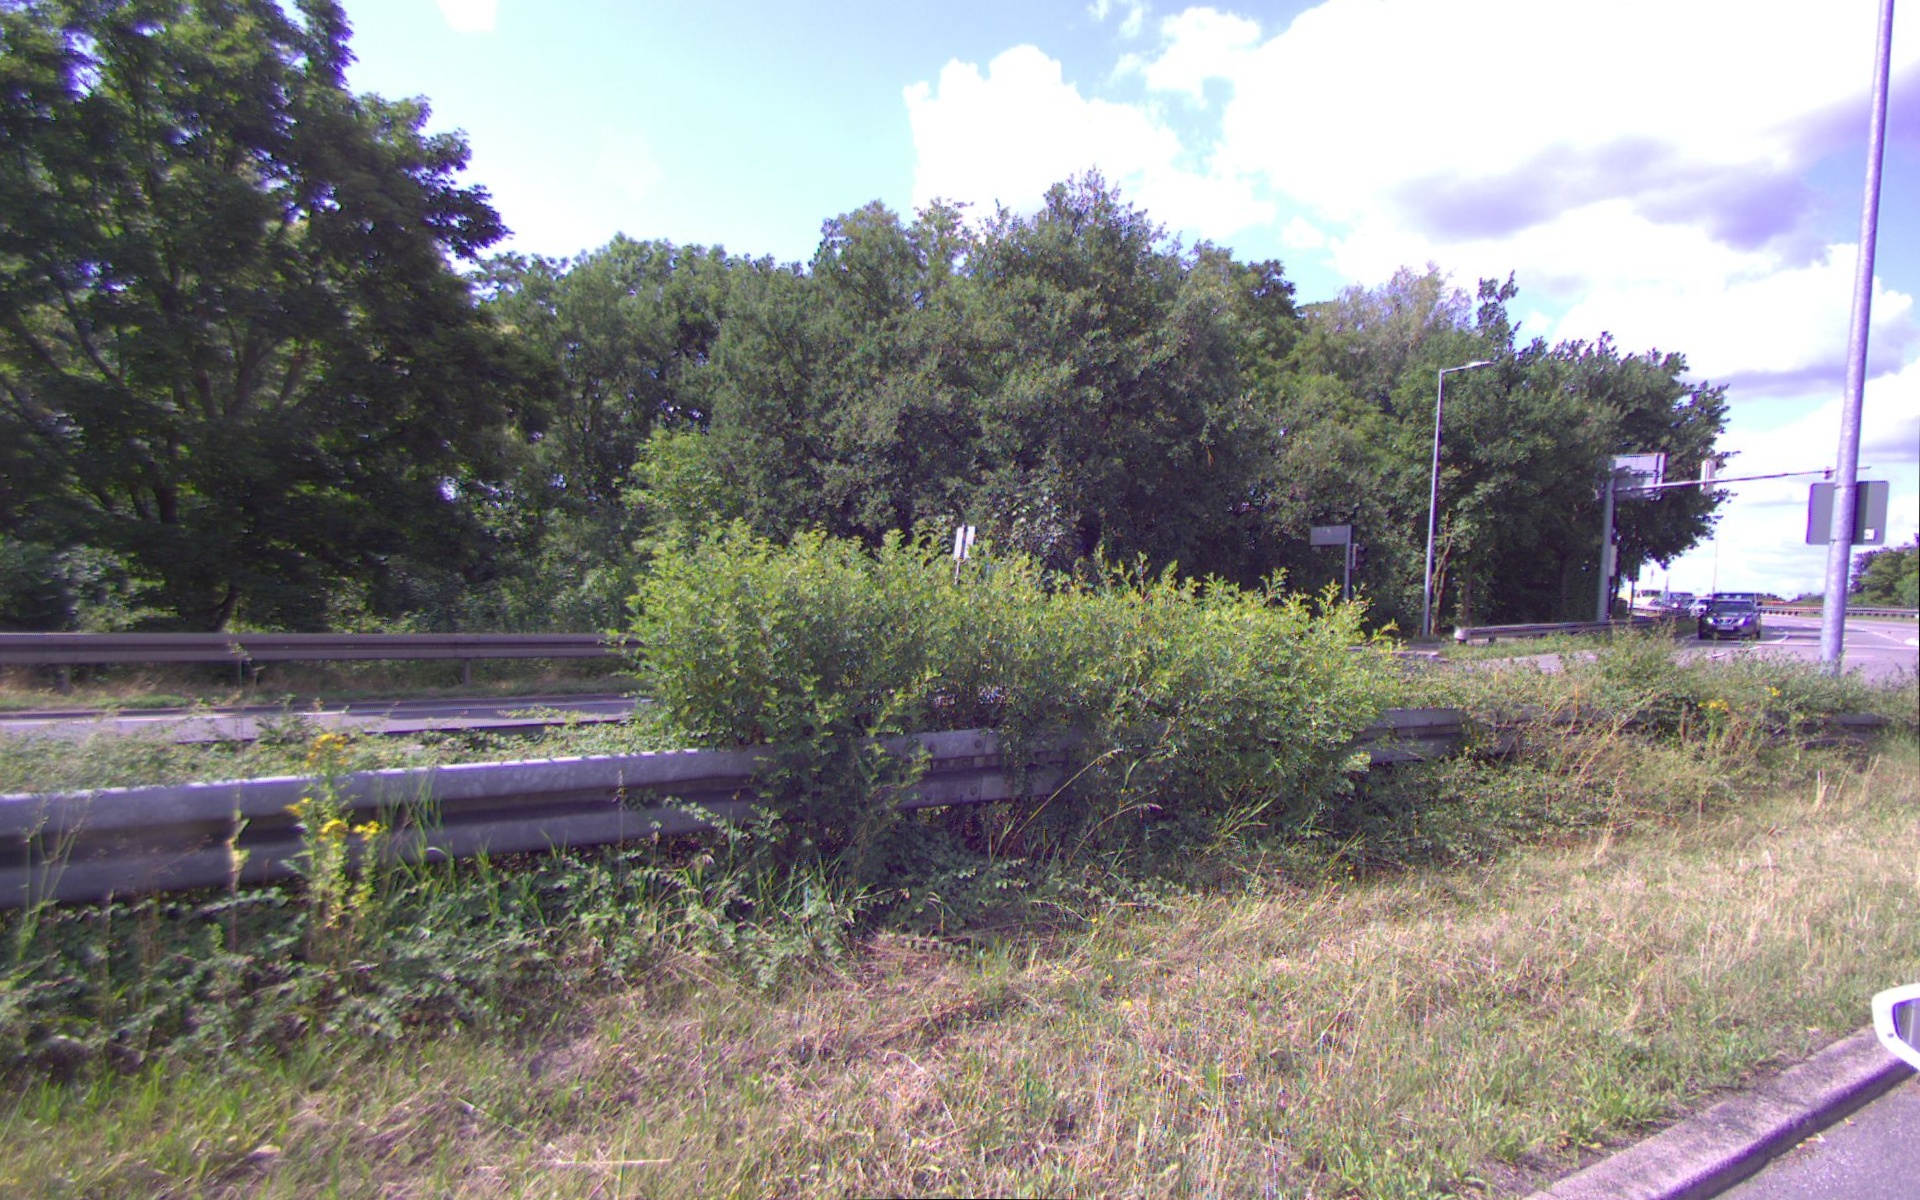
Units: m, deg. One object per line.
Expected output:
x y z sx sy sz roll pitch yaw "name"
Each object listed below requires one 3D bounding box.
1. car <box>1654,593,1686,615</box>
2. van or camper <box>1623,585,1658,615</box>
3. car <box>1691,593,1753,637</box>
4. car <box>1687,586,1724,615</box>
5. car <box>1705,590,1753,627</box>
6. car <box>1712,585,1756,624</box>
58.022 0.322 82.095 1.817 1.728 4.316 2 1 32 "car"
64.681 -0.030 95.542 1.963 2.719 6.852 2 1 28 "van or camper"
30.695 0.641 40.426 1.816 1.639 3.982 2 0 39 "car"
53.054 0.024 71.552 1.818 2.005 4.314 2 1 33 "car"
39.950 0.431 52.142 1.820 1.826 4.307 2 1 39 "car"
44.856 0.276 58.276 1.819 2.128 4.311 2 1 36 "car"
